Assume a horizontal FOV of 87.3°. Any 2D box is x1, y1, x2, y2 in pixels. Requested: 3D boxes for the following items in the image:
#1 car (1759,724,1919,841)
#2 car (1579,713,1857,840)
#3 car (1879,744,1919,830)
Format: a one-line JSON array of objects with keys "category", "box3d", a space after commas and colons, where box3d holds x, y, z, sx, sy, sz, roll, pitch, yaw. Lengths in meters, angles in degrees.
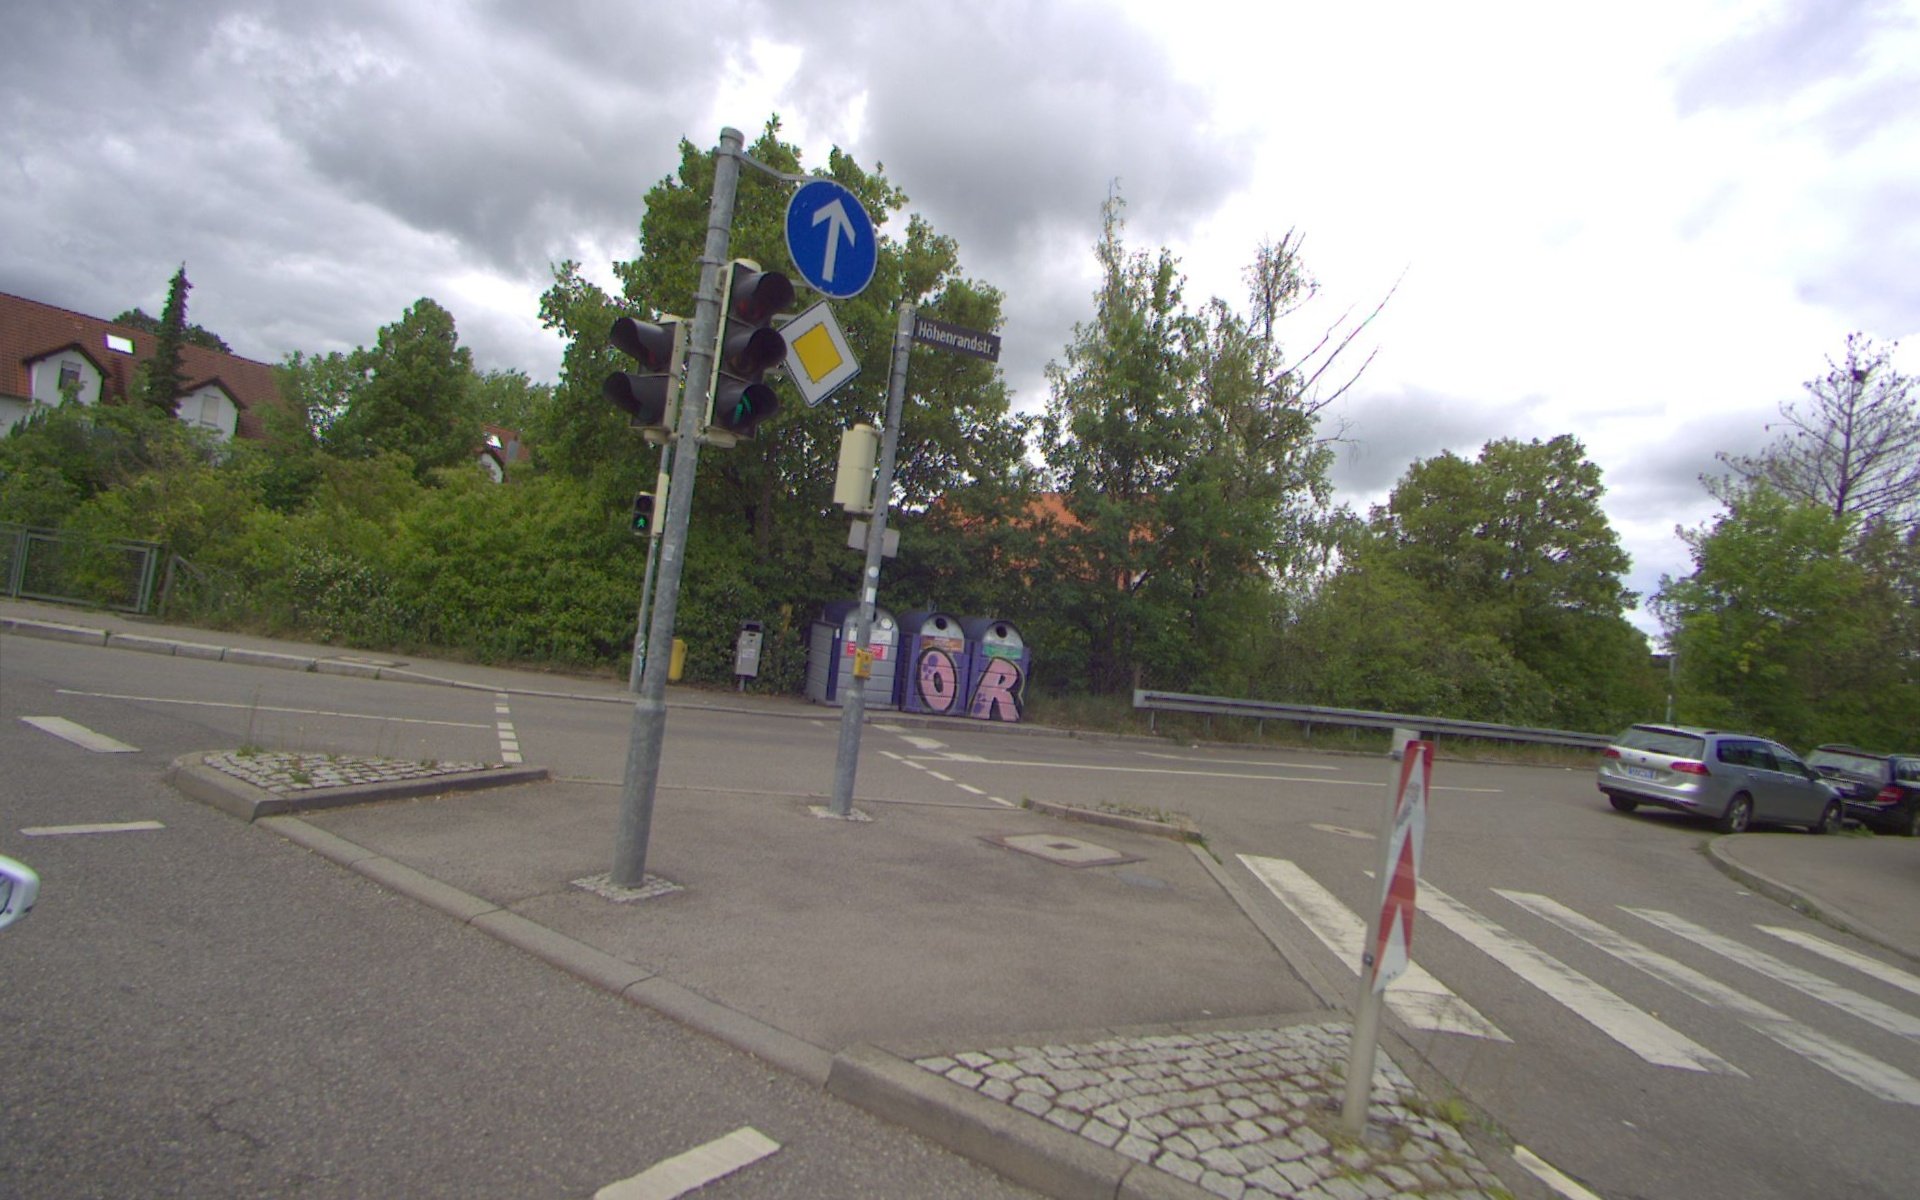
[{"category": "car", "box3d": [16.860, 3.373, 18.398, 4.093, 1.659, 1.987, 8, -2, -28]}, {"category": "car", "box3d": [11.747, 2.734, 15.581, 3.873, 1.461, 1.703, 8, 0, -25]}, {"category": "car", "box3d": [21.260, 4.071, 20.919, 4.093, 1.632, 1.859, 8, -2, -28]}]
